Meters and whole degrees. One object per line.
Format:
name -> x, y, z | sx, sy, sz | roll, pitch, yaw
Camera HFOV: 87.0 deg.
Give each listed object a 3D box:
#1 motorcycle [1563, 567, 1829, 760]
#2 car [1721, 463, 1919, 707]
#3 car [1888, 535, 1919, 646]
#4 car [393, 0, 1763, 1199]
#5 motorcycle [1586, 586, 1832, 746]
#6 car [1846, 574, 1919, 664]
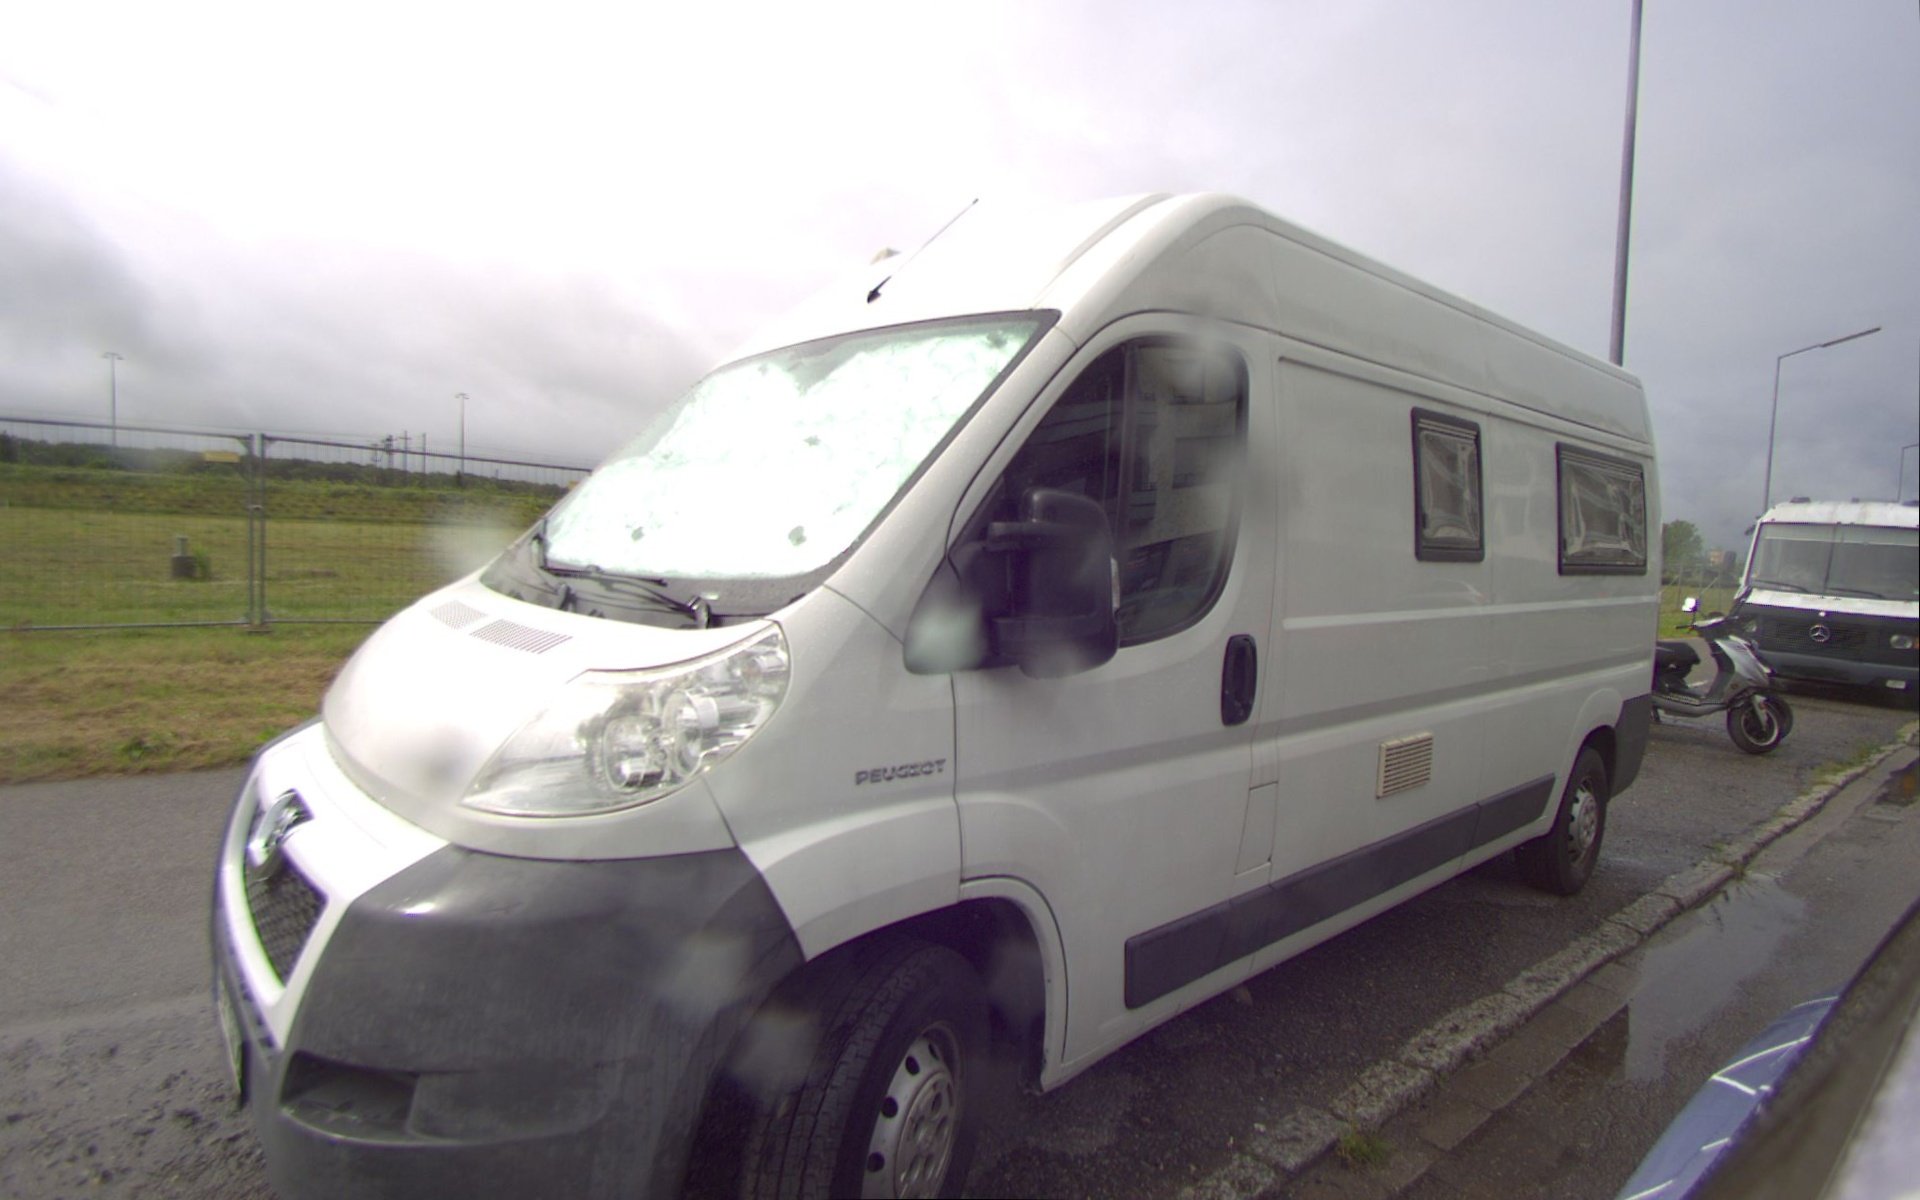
motorcycle -> 6.245, 0.485, 8.721 | 1.634, 1.390, 0.714 | 6, 5, 28
car -> 13.053, -0.280, 14.590 | 5.186, 2.916, 2.149 | -1, 7, -42
car -> 25.271, -0.138, 25.220 | 6.538, 2.558, 2.075 | 0, 5, -40
car -> 1.188, 0.021, 4.162 | 5.843, 2.502, 2.097 | -1, 5, -41
motorcycle -> 6.967, 0.575, 9.530 | 1.661, 1.208, 0.643 | 7, 6, 28
car -> 18.666, 0.366, 19.384 | 4.361, 1.512, 1.735 | 0, 5, -39
